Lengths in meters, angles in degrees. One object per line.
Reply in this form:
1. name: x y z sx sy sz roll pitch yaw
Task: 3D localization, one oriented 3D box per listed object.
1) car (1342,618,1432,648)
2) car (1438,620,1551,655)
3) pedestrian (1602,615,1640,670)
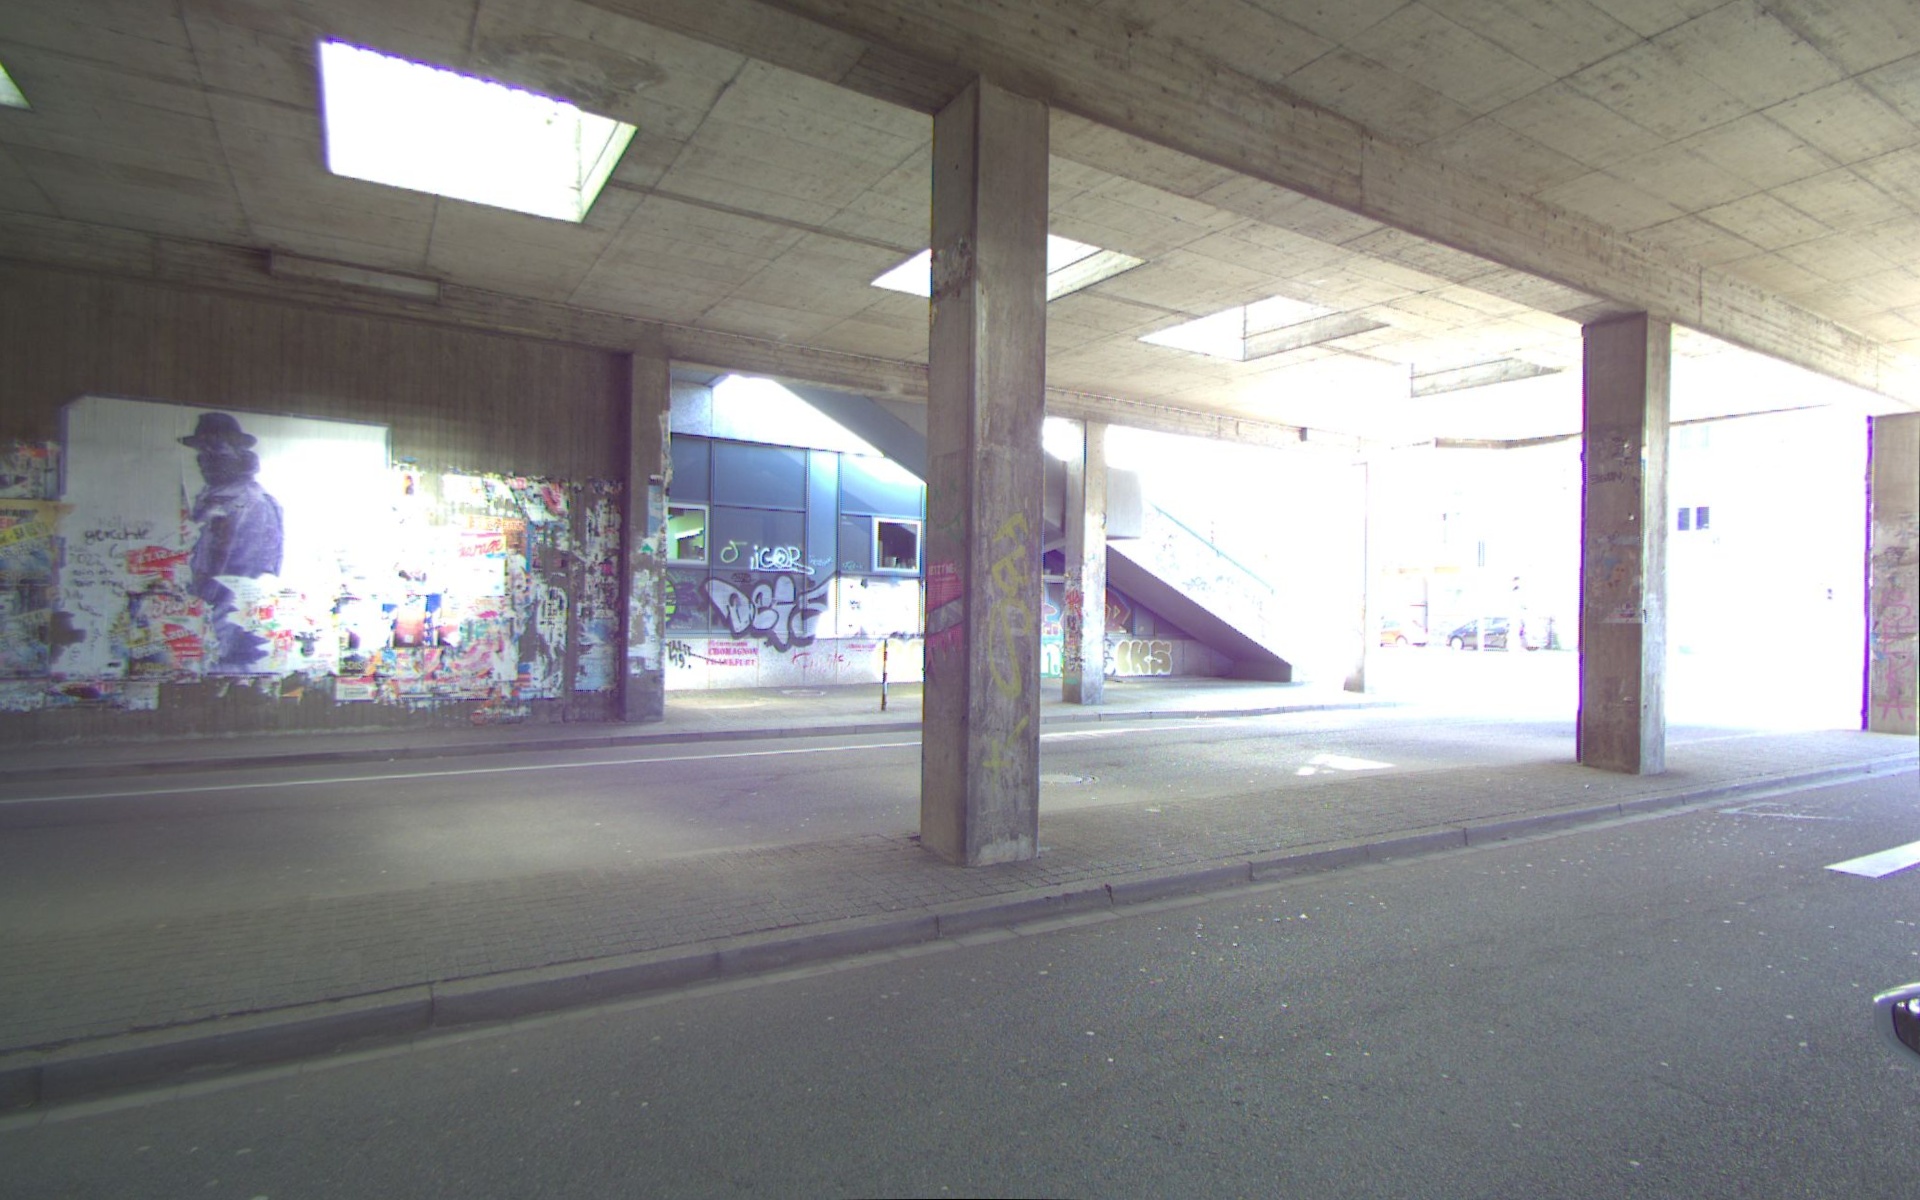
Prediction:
1. car: 22.380 1.710 52.740 1.905 1.428 3.965 2 0 -32
2. car: 25.284 1.751 47.672 1.905 1.428 4.382 2 0 -32
3. pedestrian: 20.200 1.293 30.702 0.732 1.659 0.669 2 0 -30
